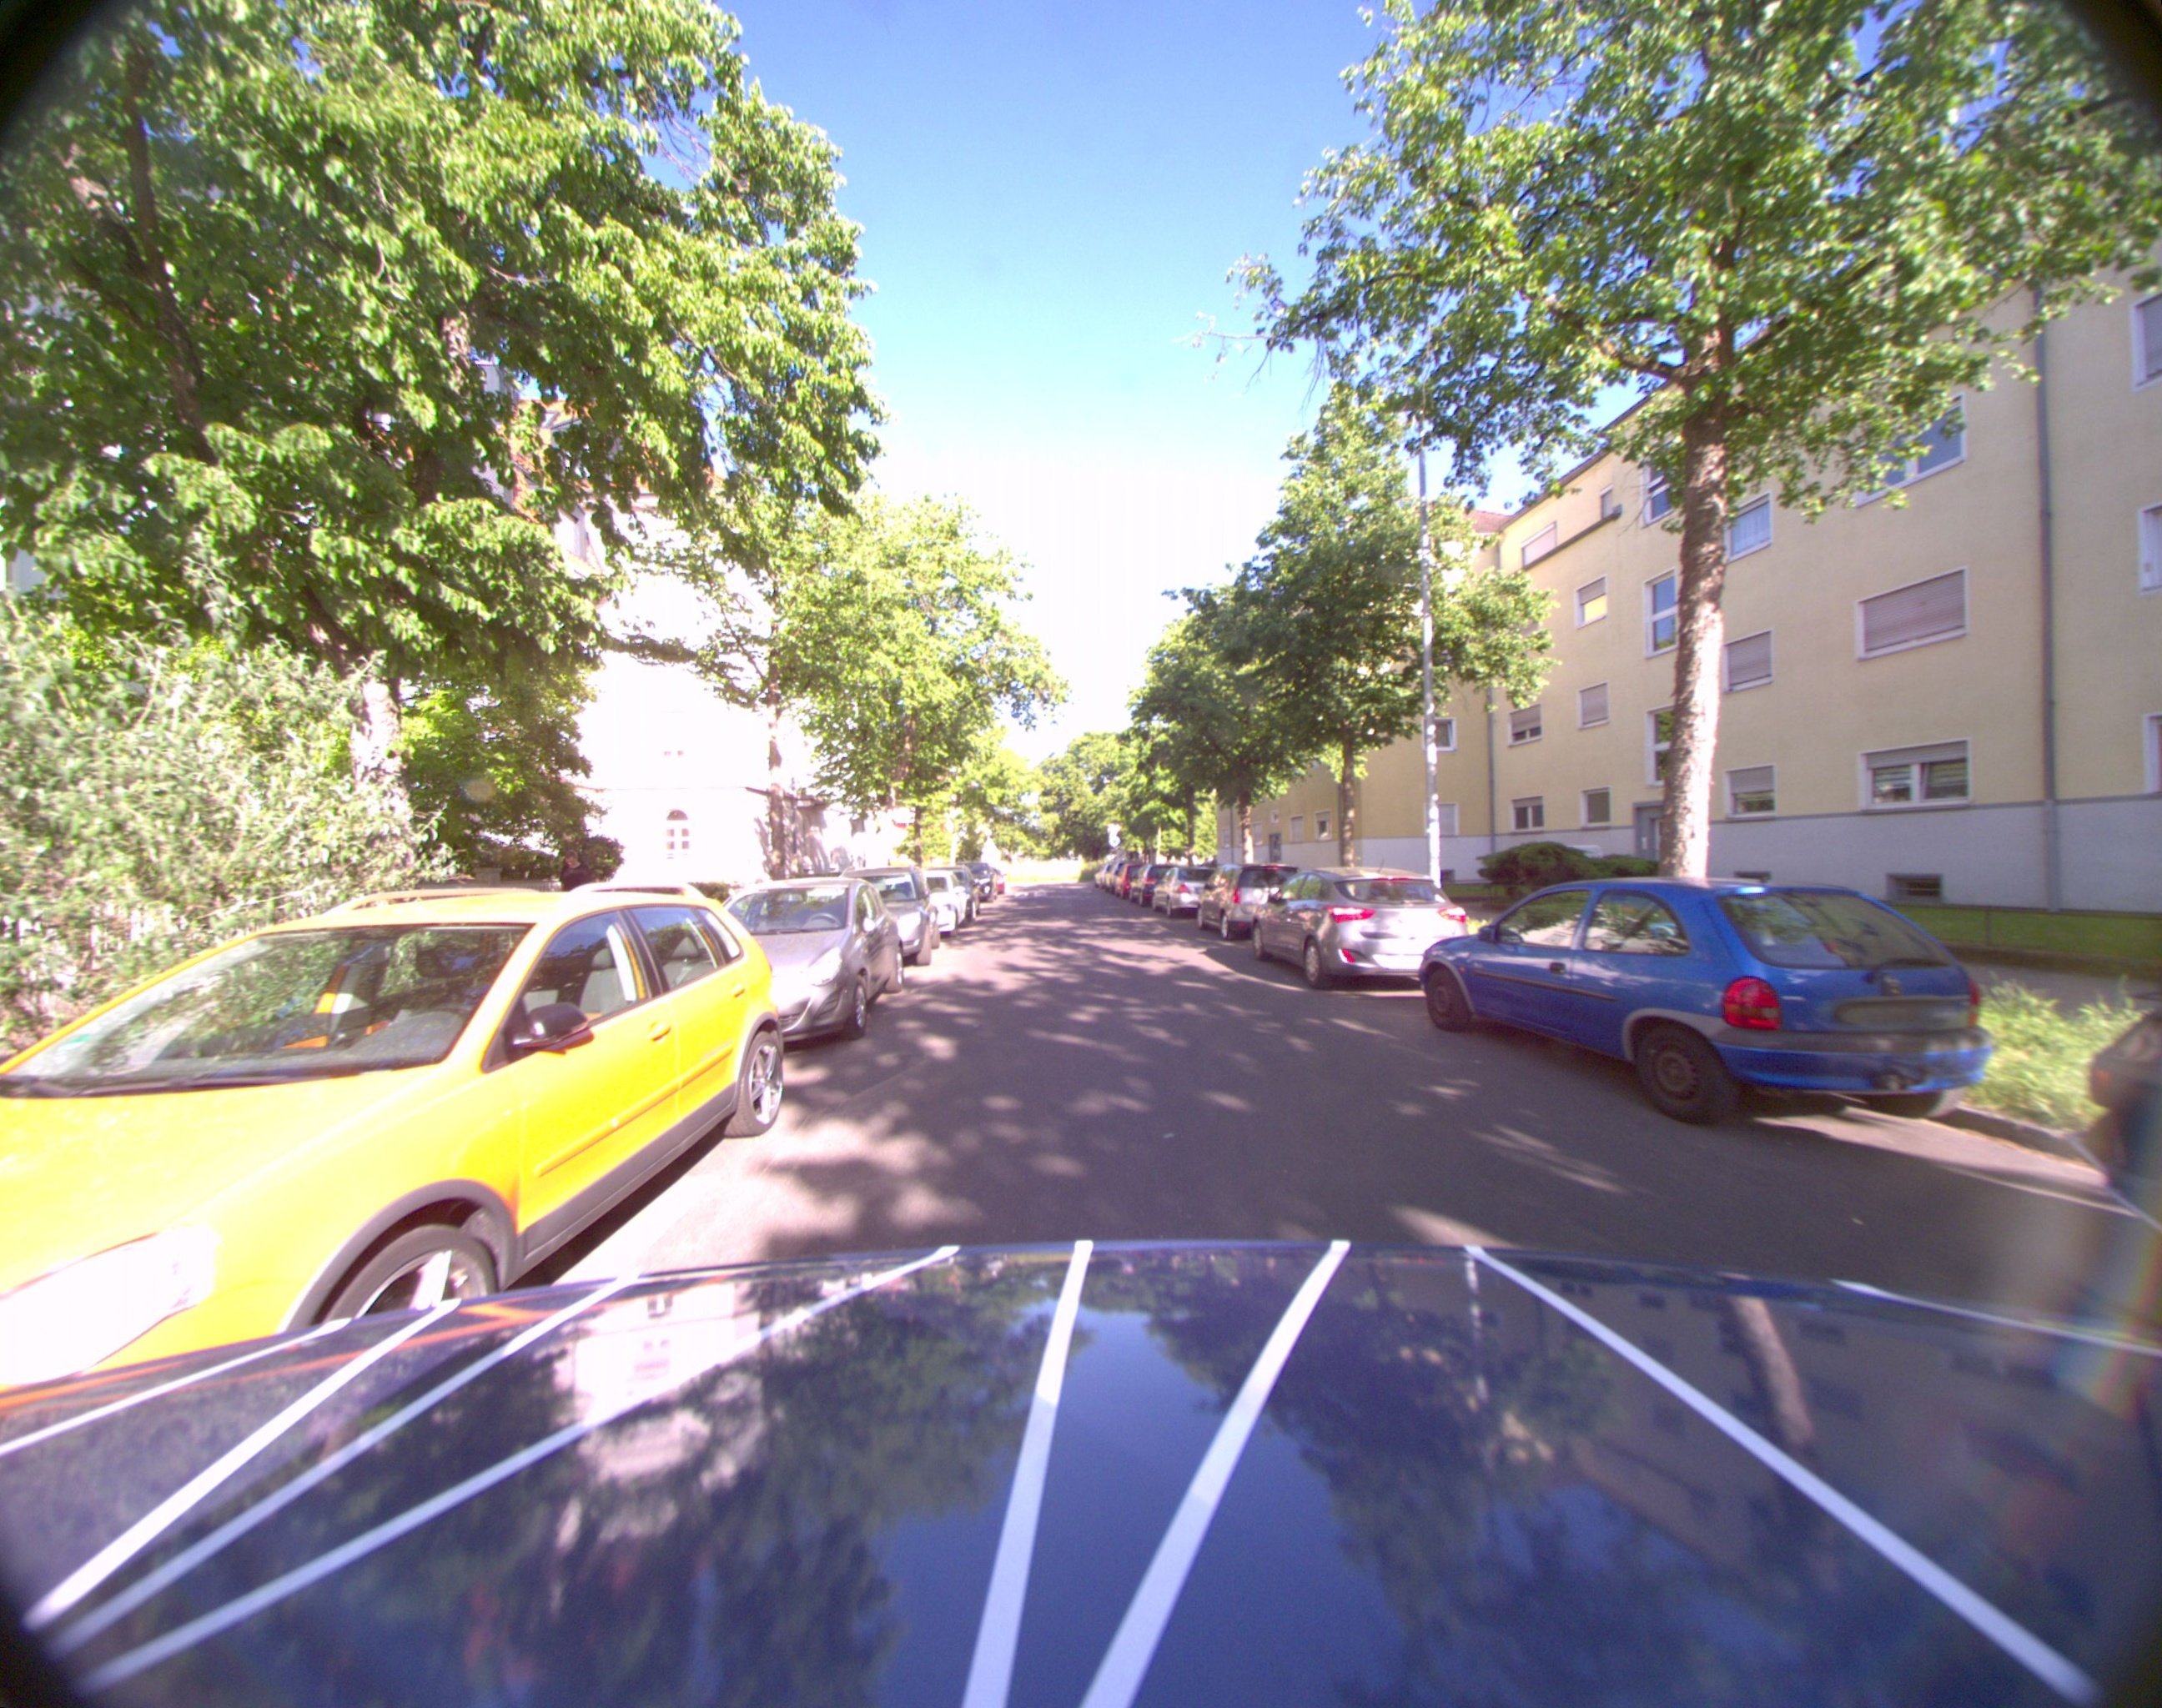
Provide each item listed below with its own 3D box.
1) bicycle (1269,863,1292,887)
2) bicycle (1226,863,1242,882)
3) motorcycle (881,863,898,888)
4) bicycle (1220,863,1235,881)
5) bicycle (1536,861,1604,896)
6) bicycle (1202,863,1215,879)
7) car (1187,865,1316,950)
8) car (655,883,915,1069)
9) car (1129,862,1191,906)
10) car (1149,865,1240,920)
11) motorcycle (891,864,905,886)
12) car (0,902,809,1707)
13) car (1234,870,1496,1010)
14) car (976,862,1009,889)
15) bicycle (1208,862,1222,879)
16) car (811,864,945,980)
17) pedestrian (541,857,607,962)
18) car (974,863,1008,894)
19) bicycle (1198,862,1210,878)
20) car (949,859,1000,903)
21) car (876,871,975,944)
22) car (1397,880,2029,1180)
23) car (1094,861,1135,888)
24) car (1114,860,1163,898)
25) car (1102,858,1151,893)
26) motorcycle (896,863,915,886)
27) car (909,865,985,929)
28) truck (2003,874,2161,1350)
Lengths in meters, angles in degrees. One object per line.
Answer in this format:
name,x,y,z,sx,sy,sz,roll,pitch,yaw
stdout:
bicycle,8.971,0.944,34.175,0.537,1.021,1.748,-1,0,-1
bicycle,8.394,1.011,41.766,0.513,0.995,1.544,-1,0,-3
motorcycle,-10.830,1.206,43.044,0.540,1.353,2.089,-1,0,-3
bicycle,8.403,1.012,43.651,0.435,0.995,1.681,-1,0,-3
bicycle,13.639,0.682,21.213,1.637,0.925,0.481,-1,0,-6
bicycle,8.031,1.042,47.735,0.476,0.995,1.544,-1,0,-2
car,3.466,1.016,16.208,1.625,1.506,4.268,1,0,-2
car,-2.881,1.090,8.218,1.654,1.420,3.611,-1,0,-5
car,2.785,1.032,27.600,1.669,1.450,3.932,-1,0,-3
car,3.163,1.044,22.136,1.750,1.360,4.673,0,0,-3
motorcycle,-10.914,1.262,45.403,0.658,1.272,1.799,1,0,-10
car,-2.603,1.056,3.164,1.641,1.446,4.098,-1,0,-3
car,3.561,0.989,10.591,1.796,1.436,4.687,0,0,-1
car,-5.057,1.208,43.702,1.657,1.394,4.134,-1,0,-4
bicycle,8.124,1.018,46.054,0.454,0.995,1.544,-1,0,-3
car,-3.381,1.041,13.317,1.654,1.646,3.845,-1,0,-6
pedestrian,-8.850,0.943,13.286,0.624,1.764,0.799,0,0,-3
car,-4.605,1.205,38.883,1.616,1.401,4.349,-1,0,-7
bicycle,7.998,1.056,49.378,0.477,0.995,1.544,-1,0,-2
car,-4.383,1.067,31.785,1.786,1.688,4.296,-1,0,-3
car,-3.521,1.157,17.959,1.634,1.416,4.367,0,0,-3
car,4.051,0.956,5.767,1.525,1.387,3.725,-1,0,-4
car,1.854,1.118,43.472,1.765,1.433,3.992,-1,0,-6
car,2.402,1.027,32.484,1.669,1.477,3.255,-1,0,-3
car,2.148,1.007,37.060,1.696,1.555,4.734,-1,0,-5
motorcycle,-10.928,1.253,47.275,0.973,1.321,1.851,-1,0,-8
car,-3.868,1.171,22.542,1.689,1.578,4.534,-3,0,-4
truck,4.145,0.856,1.742,1.087,1.568,2.431,-1,0,-1
